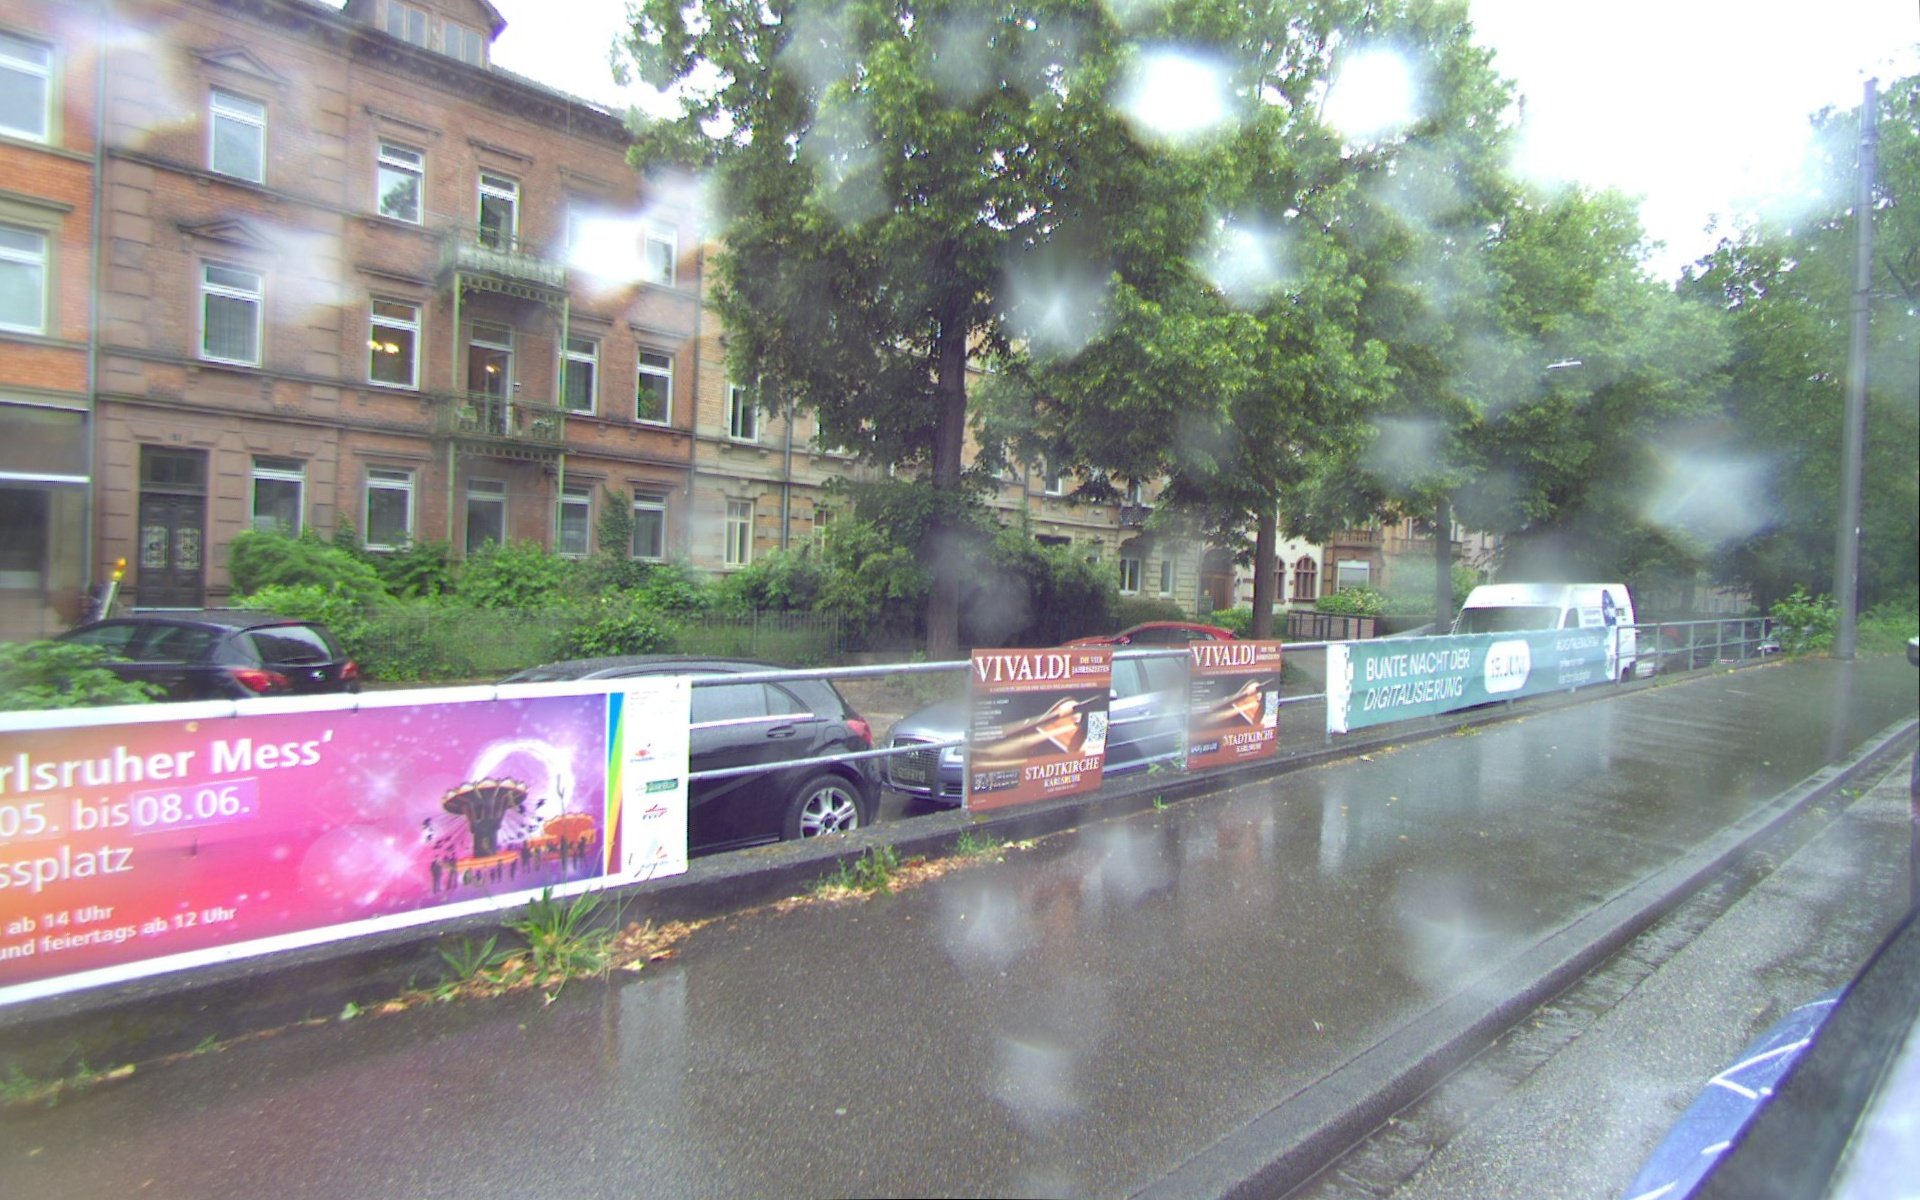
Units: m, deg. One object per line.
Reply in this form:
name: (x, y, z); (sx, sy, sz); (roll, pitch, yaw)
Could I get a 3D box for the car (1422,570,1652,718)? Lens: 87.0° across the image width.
car: (11.358, 0.719, 19.667); (6.055, 2.451, 2.211); (0, 0, -43)

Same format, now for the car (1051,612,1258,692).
car: (4.385, 1.110, 22.732); (4.372, 1.471, 1.888); (2, 1, 18)

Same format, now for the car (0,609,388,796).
car: (-8.545, 0.989, 10.658); (3.921, 1.735, 2.002); (0, 1, -4)

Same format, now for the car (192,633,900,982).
car: (-2.449, 1.003, 6.523); (3.903, 1.417, 1.706); (0, 1, -41)

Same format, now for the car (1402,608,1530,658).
car: (17.906, 1.143, 36.036); (3.958, 1.523, 1.645); (2, 2, 25)

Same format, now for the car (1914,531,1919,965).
car: (5.670, 0.581, 4.418); (3.612, 1.687, 1.755); (0, 1, -39)

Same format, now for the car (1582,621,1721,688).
car: (16.700, 1.242, 24.359); (4.312, 1.370, 1.968); (0, 0, -44)

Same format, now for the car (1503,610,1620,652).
car: (25.586, 1.286, 43.173); (3.948, 1.629, 1.815); (1, 1, 19)

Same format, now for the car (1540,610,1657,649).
car: (28.494, 1.307, 45.294); (3.942, 1.585, 1.991); (0, 1, 15)

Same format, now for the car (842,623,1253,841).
car: (0.990, 1.059, 9.778); (4.006, 1.559, 1.734); (0, 0, -43)

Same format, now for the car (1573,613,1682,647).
car: (32.066, 1.423, 48.731); (3.942, 1.482, 1.904); (1, 1, 15)

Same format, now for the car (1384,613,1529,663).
car: (16.505, 1.234, 33.892); (4.214, 1.397, 1.679); (2, 2, 22)
